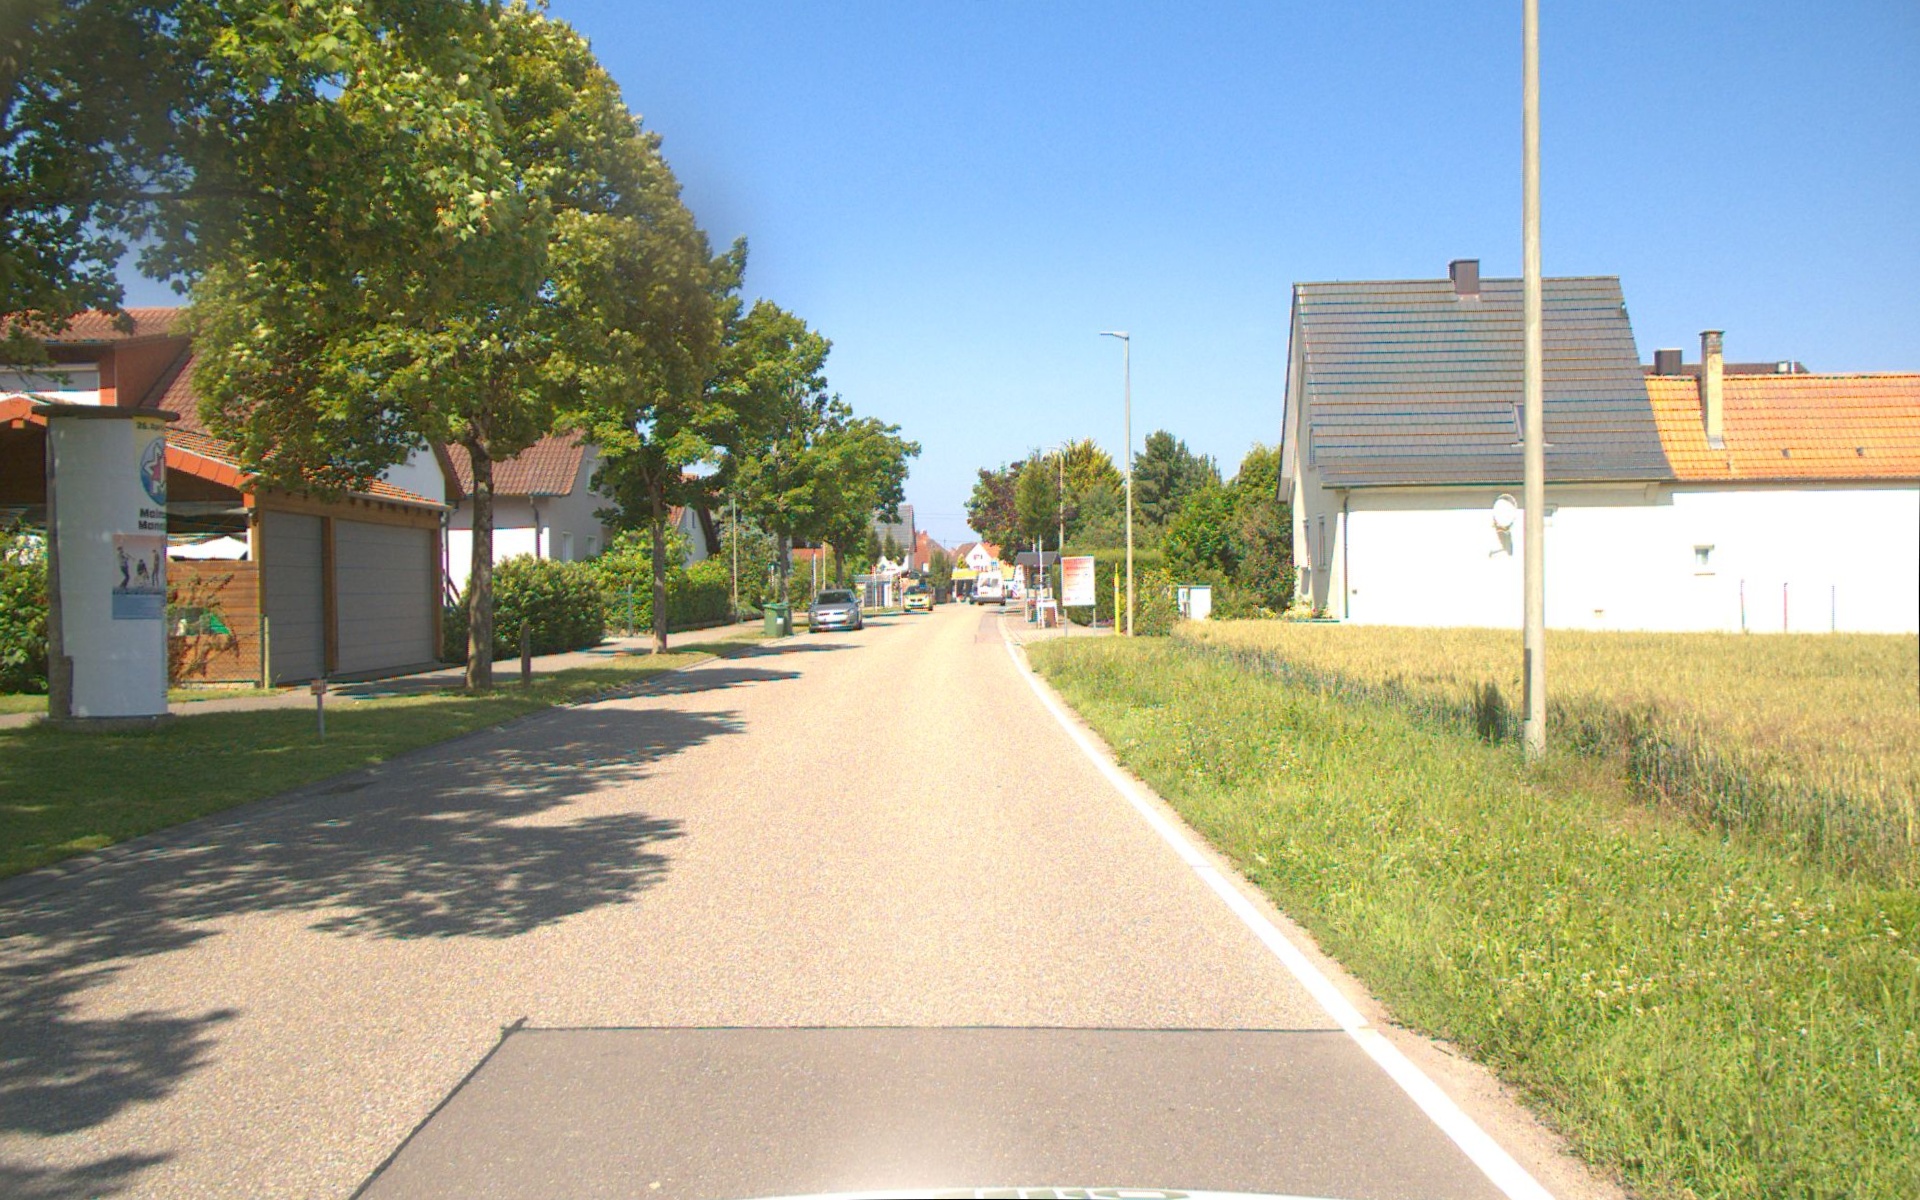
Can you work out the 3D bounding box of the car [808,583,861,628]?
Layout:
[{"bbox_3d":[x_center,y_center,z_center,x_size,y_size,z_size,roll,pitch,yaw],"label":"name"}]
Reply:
[{"bbox_3d":[-4.418,0.181,58.691,1.614,1.448,4.079,-3,0,-1],"label":"car"}]

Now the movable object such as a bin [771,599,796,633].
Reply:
[{"bbox_3d":[-5.746,0.521,53.908,0.563,1.097,0.598,-1,0,21],"label":"movable object such as a bin"}]

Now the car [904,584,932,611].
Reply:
[{"bbox_3d":[-2.572,-0.176,100.292,1.632,1.550,3.441,-2,0,-2],"label":"car"}]

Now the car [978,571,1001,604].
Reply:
[{"bbox_3d":[2.268,-0.939,128.590,1.702,2.474,4.374,-1,0,1],"label":"car"}]

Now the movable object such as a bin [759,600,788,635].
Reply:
[{"bbox_3d":[-6.005,0.556,53.301,0.699,1.097,0.639,-1,0,26],"label":"movable object such as a bin"}]

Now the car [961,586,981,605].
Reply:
[{"bbox_3d":[1.107,-0.464,164.130,1.798,1.783,3.795,-1,1,-1],"label":"car"}]
